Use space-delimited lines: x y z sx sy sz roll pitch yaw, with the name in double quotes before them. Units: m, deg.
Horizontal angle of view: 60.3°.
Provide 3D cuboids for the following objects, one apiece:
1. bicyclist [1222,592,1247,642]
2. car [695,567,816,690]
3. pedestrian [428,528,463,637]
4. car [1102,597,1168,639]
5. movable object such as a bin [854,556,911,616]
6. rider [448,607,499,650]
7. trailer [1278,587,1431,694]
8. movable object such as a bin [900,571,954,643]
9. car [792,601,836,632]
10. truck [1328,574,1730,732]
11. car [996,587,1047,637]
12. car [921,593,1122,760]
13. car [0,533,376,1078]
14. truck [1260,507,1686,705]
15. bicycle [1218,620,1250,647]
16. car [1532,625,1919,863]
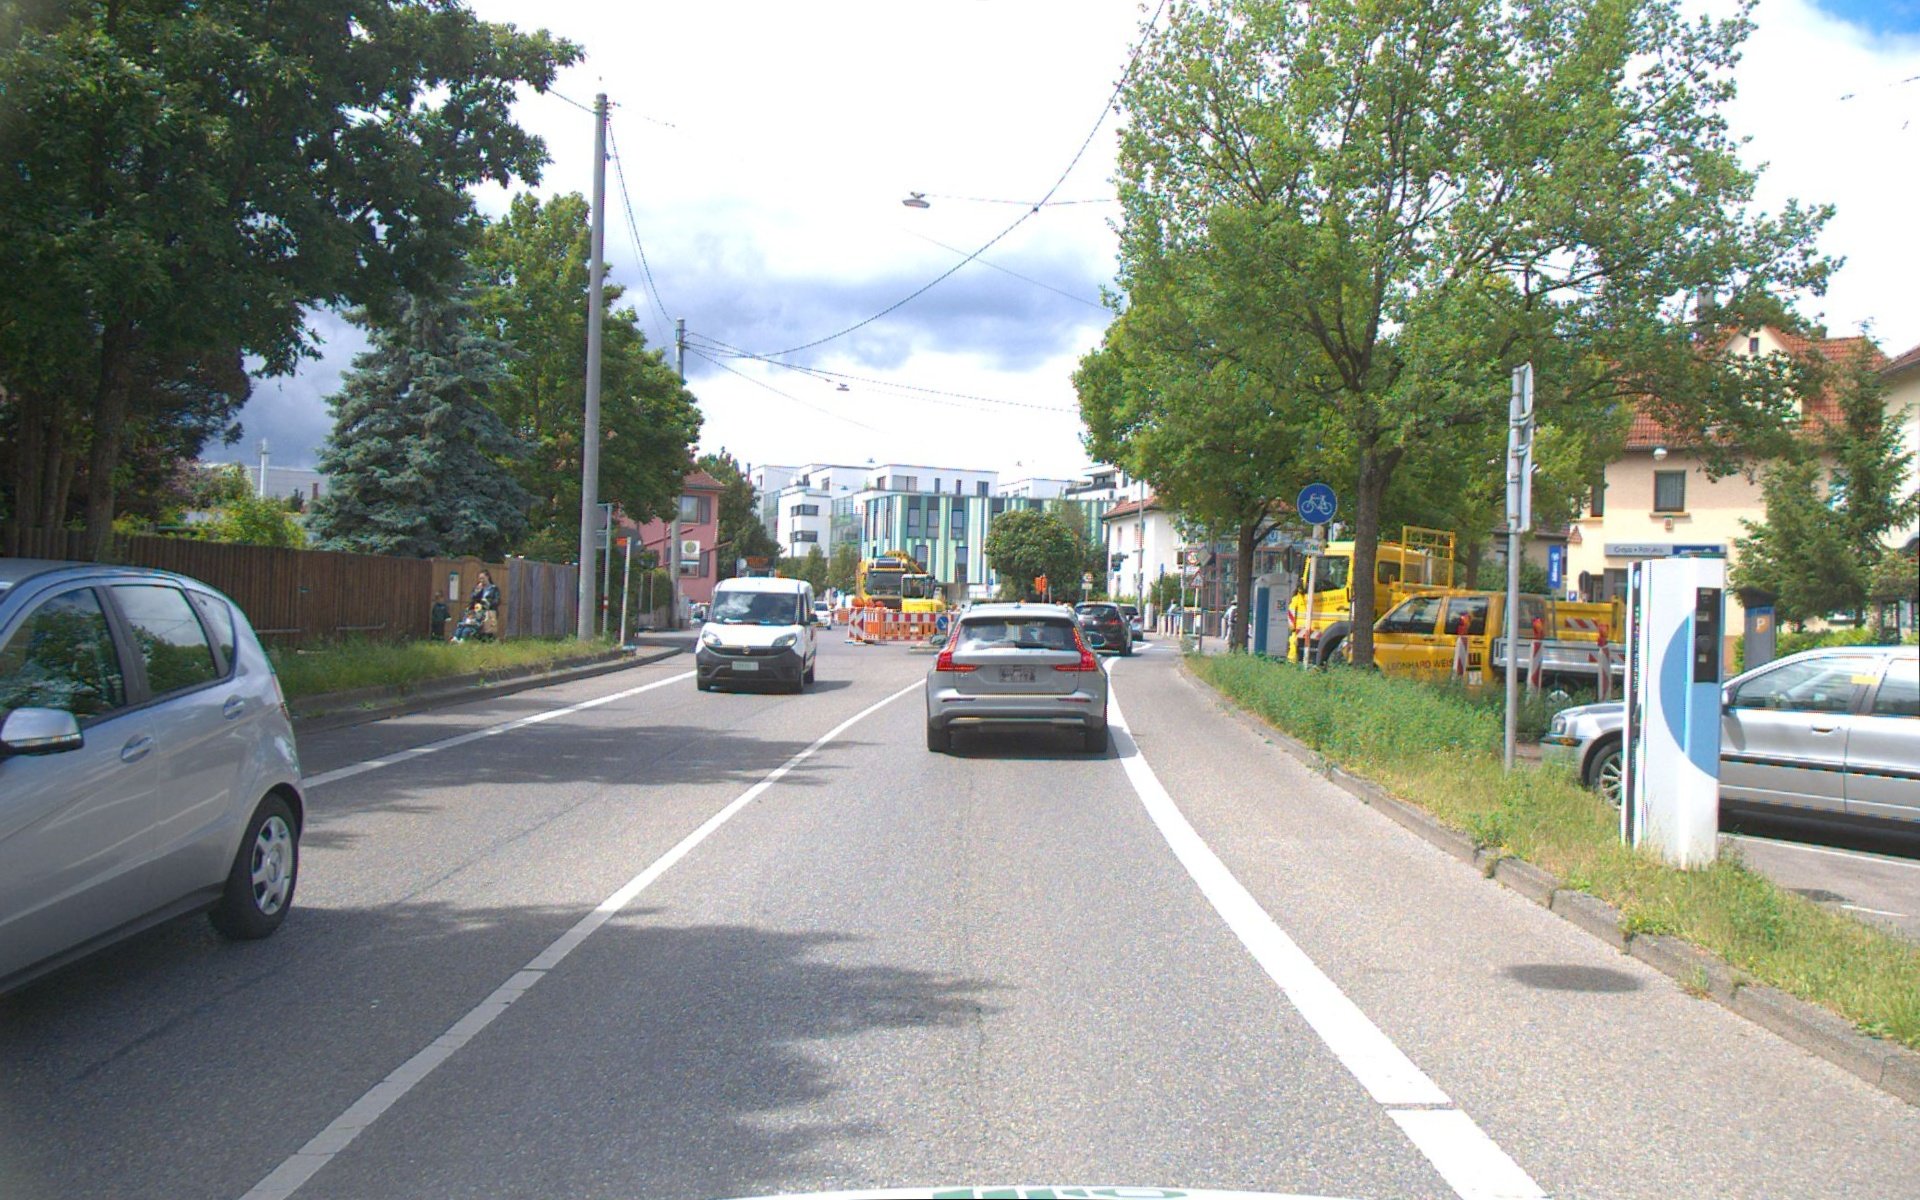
"bicyclist" 8.991 0.574 54.148 0.577 1.586 0.566 4 -2 -5
"car" -3.394 0.461 28.111 1.812 1.908 4.589 -1 -1 -4
"pedestrian" -9.895 -0.329 31.825 0.394 2.049 0.414 4 -2 1
"car" 7.169 0.767 68.218 2.060 1.536 3.998 4 -2 -2
"movable object such as a bin" -4.238 -0.735 89.394 2.268 3.042 6.412 1 0 -9
"rider" -9.124 0.533 31.039 0.714 0.747 0.689 4 -2 -3
"trailer" 8.557 0.858 36.430 2.339 2.067 5.515 3 -1 4
"movable object such as a bin" -1.340 0.258 66.174 1.993 2.689 5.938 1 0 -1
"car" -7.805 0.907 88.794 1.848 1.534 4.001 -1 -2 3
"truck" 8.671 0.752 25.684 1.983 2.049 5.592 6 -2 -42
"car" 2.861 0.575 76.228 1.952 2.049 4.002 4 -2 6
"car" 0.662 0.735 17.712 1.888 1.567 4.001 1 0 2
"car" -3.702 0.596 5.953 1.673 1.646 4.000 2 0 1
"truck" 8.958 0.035 29.372 6.592 3.060 2.752 3 -2 44
"bicycle" 8.953 1.095 54.096 0.583 0.826 1.752 4 -1 -5
"car" 6.784 1.048 12.082 1.755 1.477 4.613 3 0 -44
